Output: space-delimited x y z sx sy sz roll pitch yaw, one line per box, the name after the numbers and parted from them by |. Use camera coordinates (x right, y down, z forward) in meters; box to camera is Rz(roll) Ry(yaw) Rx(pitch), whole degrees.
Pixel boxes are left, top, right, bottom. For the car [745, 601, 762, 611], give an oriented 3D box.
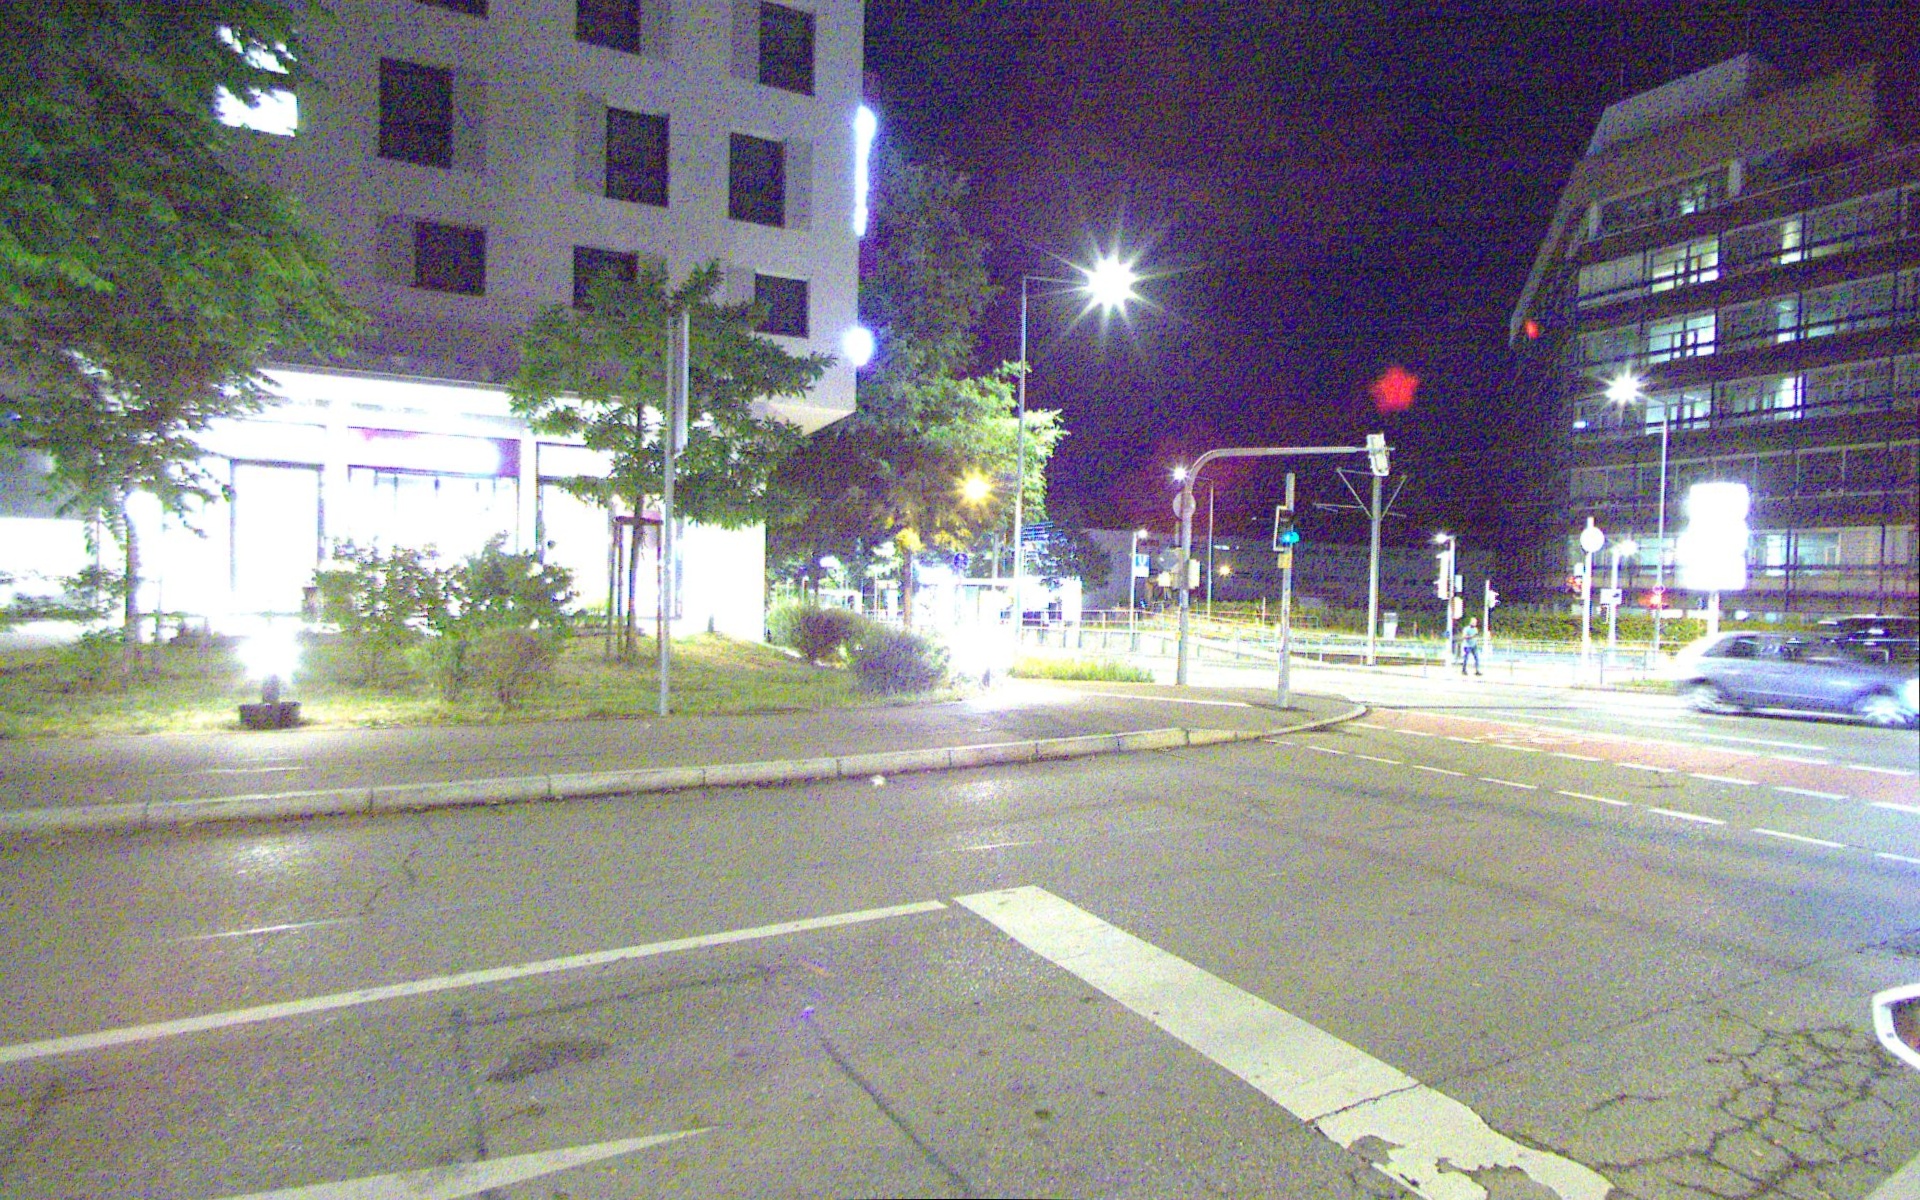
-33.477 0.976 162.925 1.845 1.506 3.822 2 0 -26 | car

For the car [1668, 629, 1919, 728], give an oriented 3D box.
13.990 1.201 16.395 1.621 1.439 3.676 1 -2 -25 | car

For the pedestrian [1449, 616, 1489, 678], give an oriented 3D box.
14.732 1.358 29.063 0.669 1.745 0.702 2 0 -22 | pedestrian

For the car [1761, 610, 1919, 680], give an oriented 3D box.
27.731 1.354 30.552 1.845 1.909 4.926 2 0 -26 | car
